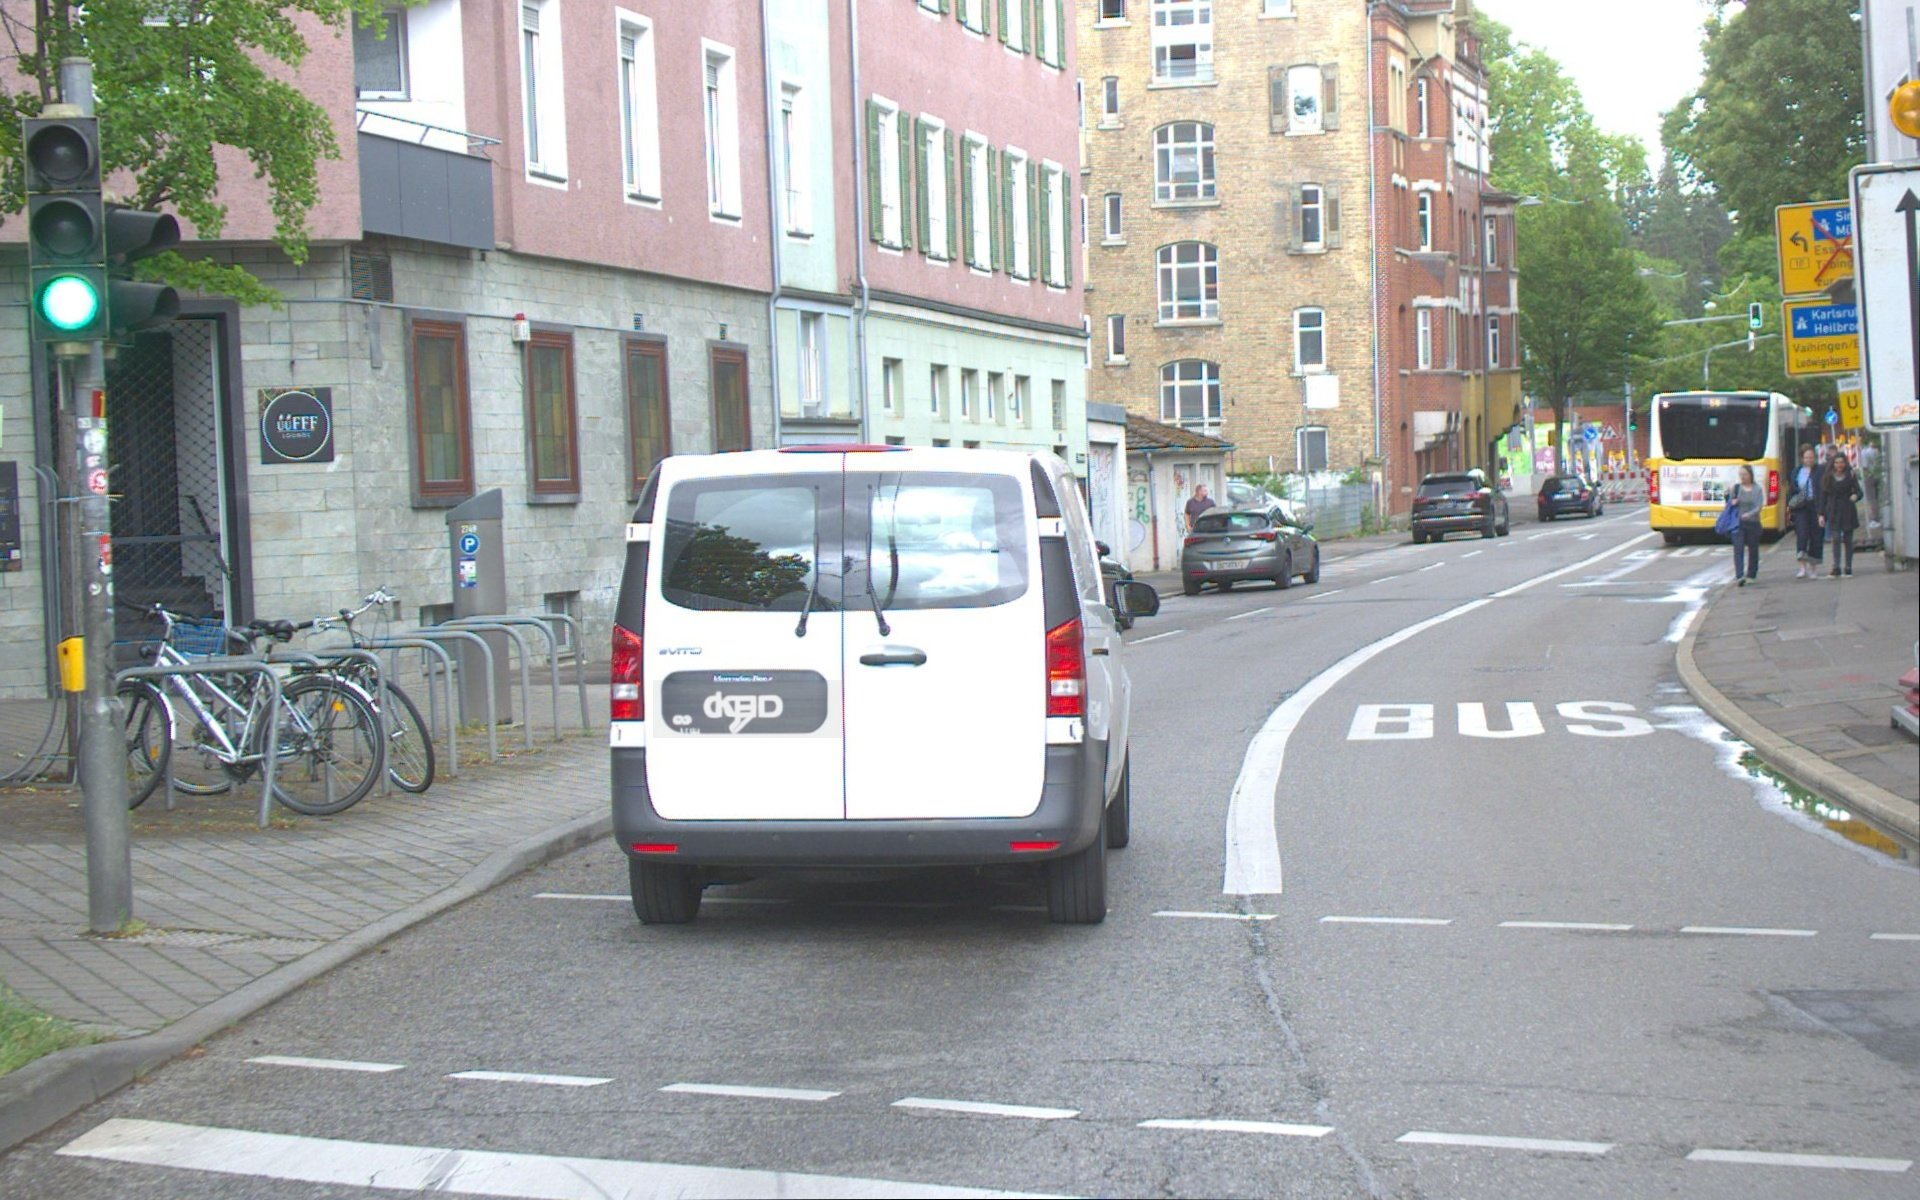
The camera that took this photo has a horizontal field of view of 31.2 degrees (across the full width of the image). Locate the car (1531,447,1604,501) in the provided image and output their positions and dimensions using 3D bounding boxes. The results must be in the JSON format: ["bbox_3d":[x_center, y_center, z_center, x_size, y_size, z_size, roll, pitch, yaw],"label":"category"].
[{"bbox_3d":[19.522,-4.058,110.321,1.726,1.480,4.387,-1,4,17],"label":"car"}]

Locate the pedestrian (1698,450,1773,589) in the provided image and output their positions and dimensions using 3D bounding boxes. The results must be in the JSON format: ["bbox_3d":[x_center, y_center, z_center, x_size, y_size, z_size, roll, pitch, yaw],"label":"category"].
[{"bbox_3d":[10.460,-1.100,46.403,0.803,1.787,0.942,-4,2,10],"label":"pedestrian"}]

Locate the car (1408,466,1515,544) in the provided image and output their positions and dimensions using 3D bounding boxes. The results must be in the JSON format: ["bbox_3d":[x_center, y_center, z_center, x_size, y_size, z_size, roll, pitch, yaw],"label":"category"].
[{"bbox_3d":[12.399,-2.366,84.763,1.955,1.727,4.771,-2,2,16],"label":"car"}]

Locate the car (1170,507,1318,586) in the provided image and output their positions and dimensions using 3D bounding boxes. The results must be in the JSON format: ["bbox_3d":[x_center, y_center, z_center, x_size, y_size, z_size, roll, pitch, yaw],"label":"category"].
[{"bbox_3d":[4.880,-0.909,58.611,1.995,1.285,3.998,0,1,13],"label":"car"}]

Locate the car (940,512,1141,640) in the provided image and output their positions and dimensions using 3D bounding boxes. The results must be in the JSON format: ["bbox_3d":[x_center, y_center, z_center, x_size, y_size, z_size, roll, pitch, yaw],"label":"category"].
[{"bbox_3d":[1.067,-0.342,42.904,1.829,1.450,4.920,-2,1,9],"label":"car"}]

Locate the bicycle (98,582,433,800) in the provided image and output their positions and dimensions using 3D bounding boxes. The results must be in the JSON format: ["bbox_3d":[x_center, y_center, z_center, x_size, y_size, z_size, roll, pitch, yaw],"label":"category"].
[{"bbox_3d":[-3.865,0.492,19.257,1.801,1.172,0.725,0,1,-9],"label":"bicycle"}]

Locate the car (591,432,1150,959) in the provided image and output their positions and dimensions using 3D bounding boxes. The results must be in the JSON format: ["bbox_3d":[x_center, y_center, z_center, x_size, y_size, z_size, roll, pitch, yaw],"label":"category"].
[{"bbox_3d":[-0.202,0.314,14.845,1.917,1.895,4.701,1,1,5],"label":"car"}]

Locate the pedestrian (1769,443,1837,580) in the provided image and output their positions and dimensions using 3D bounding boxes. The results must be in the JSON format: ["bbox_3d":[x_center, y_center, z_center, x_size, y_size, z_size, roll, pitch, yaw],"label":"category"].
[{"bbox_3d":[11.234,-1.184,45.839,0.687,1.750,0.878,-4,2,10],"label":"pedestrian"}]

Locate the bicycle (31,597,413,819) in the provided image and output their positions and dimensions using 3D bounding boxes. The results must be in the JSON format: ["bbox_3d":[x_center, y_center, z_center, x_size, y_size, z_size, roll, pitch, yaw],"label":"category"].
[{"bbox_3d":[-3.844,0.547,17.932,1.870,1.110,0.577,0,1,12],"label":"bicycle"}]

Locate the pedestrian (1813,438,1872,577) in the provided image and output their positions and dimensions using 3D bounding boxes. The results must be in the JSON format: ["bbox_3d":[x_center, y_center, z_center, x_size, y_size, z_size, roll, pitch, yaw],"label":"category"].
[{"bbox_3d":[11.541,-1.214,44.963,0.543,1.750,0.608,-4,2,23],"label":"pedestrian"}]

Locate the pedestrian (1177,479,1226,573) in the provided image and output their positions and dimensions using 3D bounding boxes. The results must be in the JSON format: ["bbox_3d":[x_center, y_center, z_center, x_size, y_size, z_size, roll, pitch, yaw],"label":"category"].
[{"bbox_3d":[4.495,-1.382,63.908,0.761,1.738,0.984,0,1,14],"label":"pedestrian"}]

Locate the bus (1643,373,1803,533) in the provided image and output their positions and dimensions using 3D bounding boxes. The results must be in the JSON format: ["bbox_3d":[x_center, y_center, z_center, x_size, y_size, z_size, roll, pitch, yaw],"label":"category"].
[{"bbox_3d":[16.165,-3.108,72.375,2.665,3.125,10.033,0,3,16],"label":"bus"}]
